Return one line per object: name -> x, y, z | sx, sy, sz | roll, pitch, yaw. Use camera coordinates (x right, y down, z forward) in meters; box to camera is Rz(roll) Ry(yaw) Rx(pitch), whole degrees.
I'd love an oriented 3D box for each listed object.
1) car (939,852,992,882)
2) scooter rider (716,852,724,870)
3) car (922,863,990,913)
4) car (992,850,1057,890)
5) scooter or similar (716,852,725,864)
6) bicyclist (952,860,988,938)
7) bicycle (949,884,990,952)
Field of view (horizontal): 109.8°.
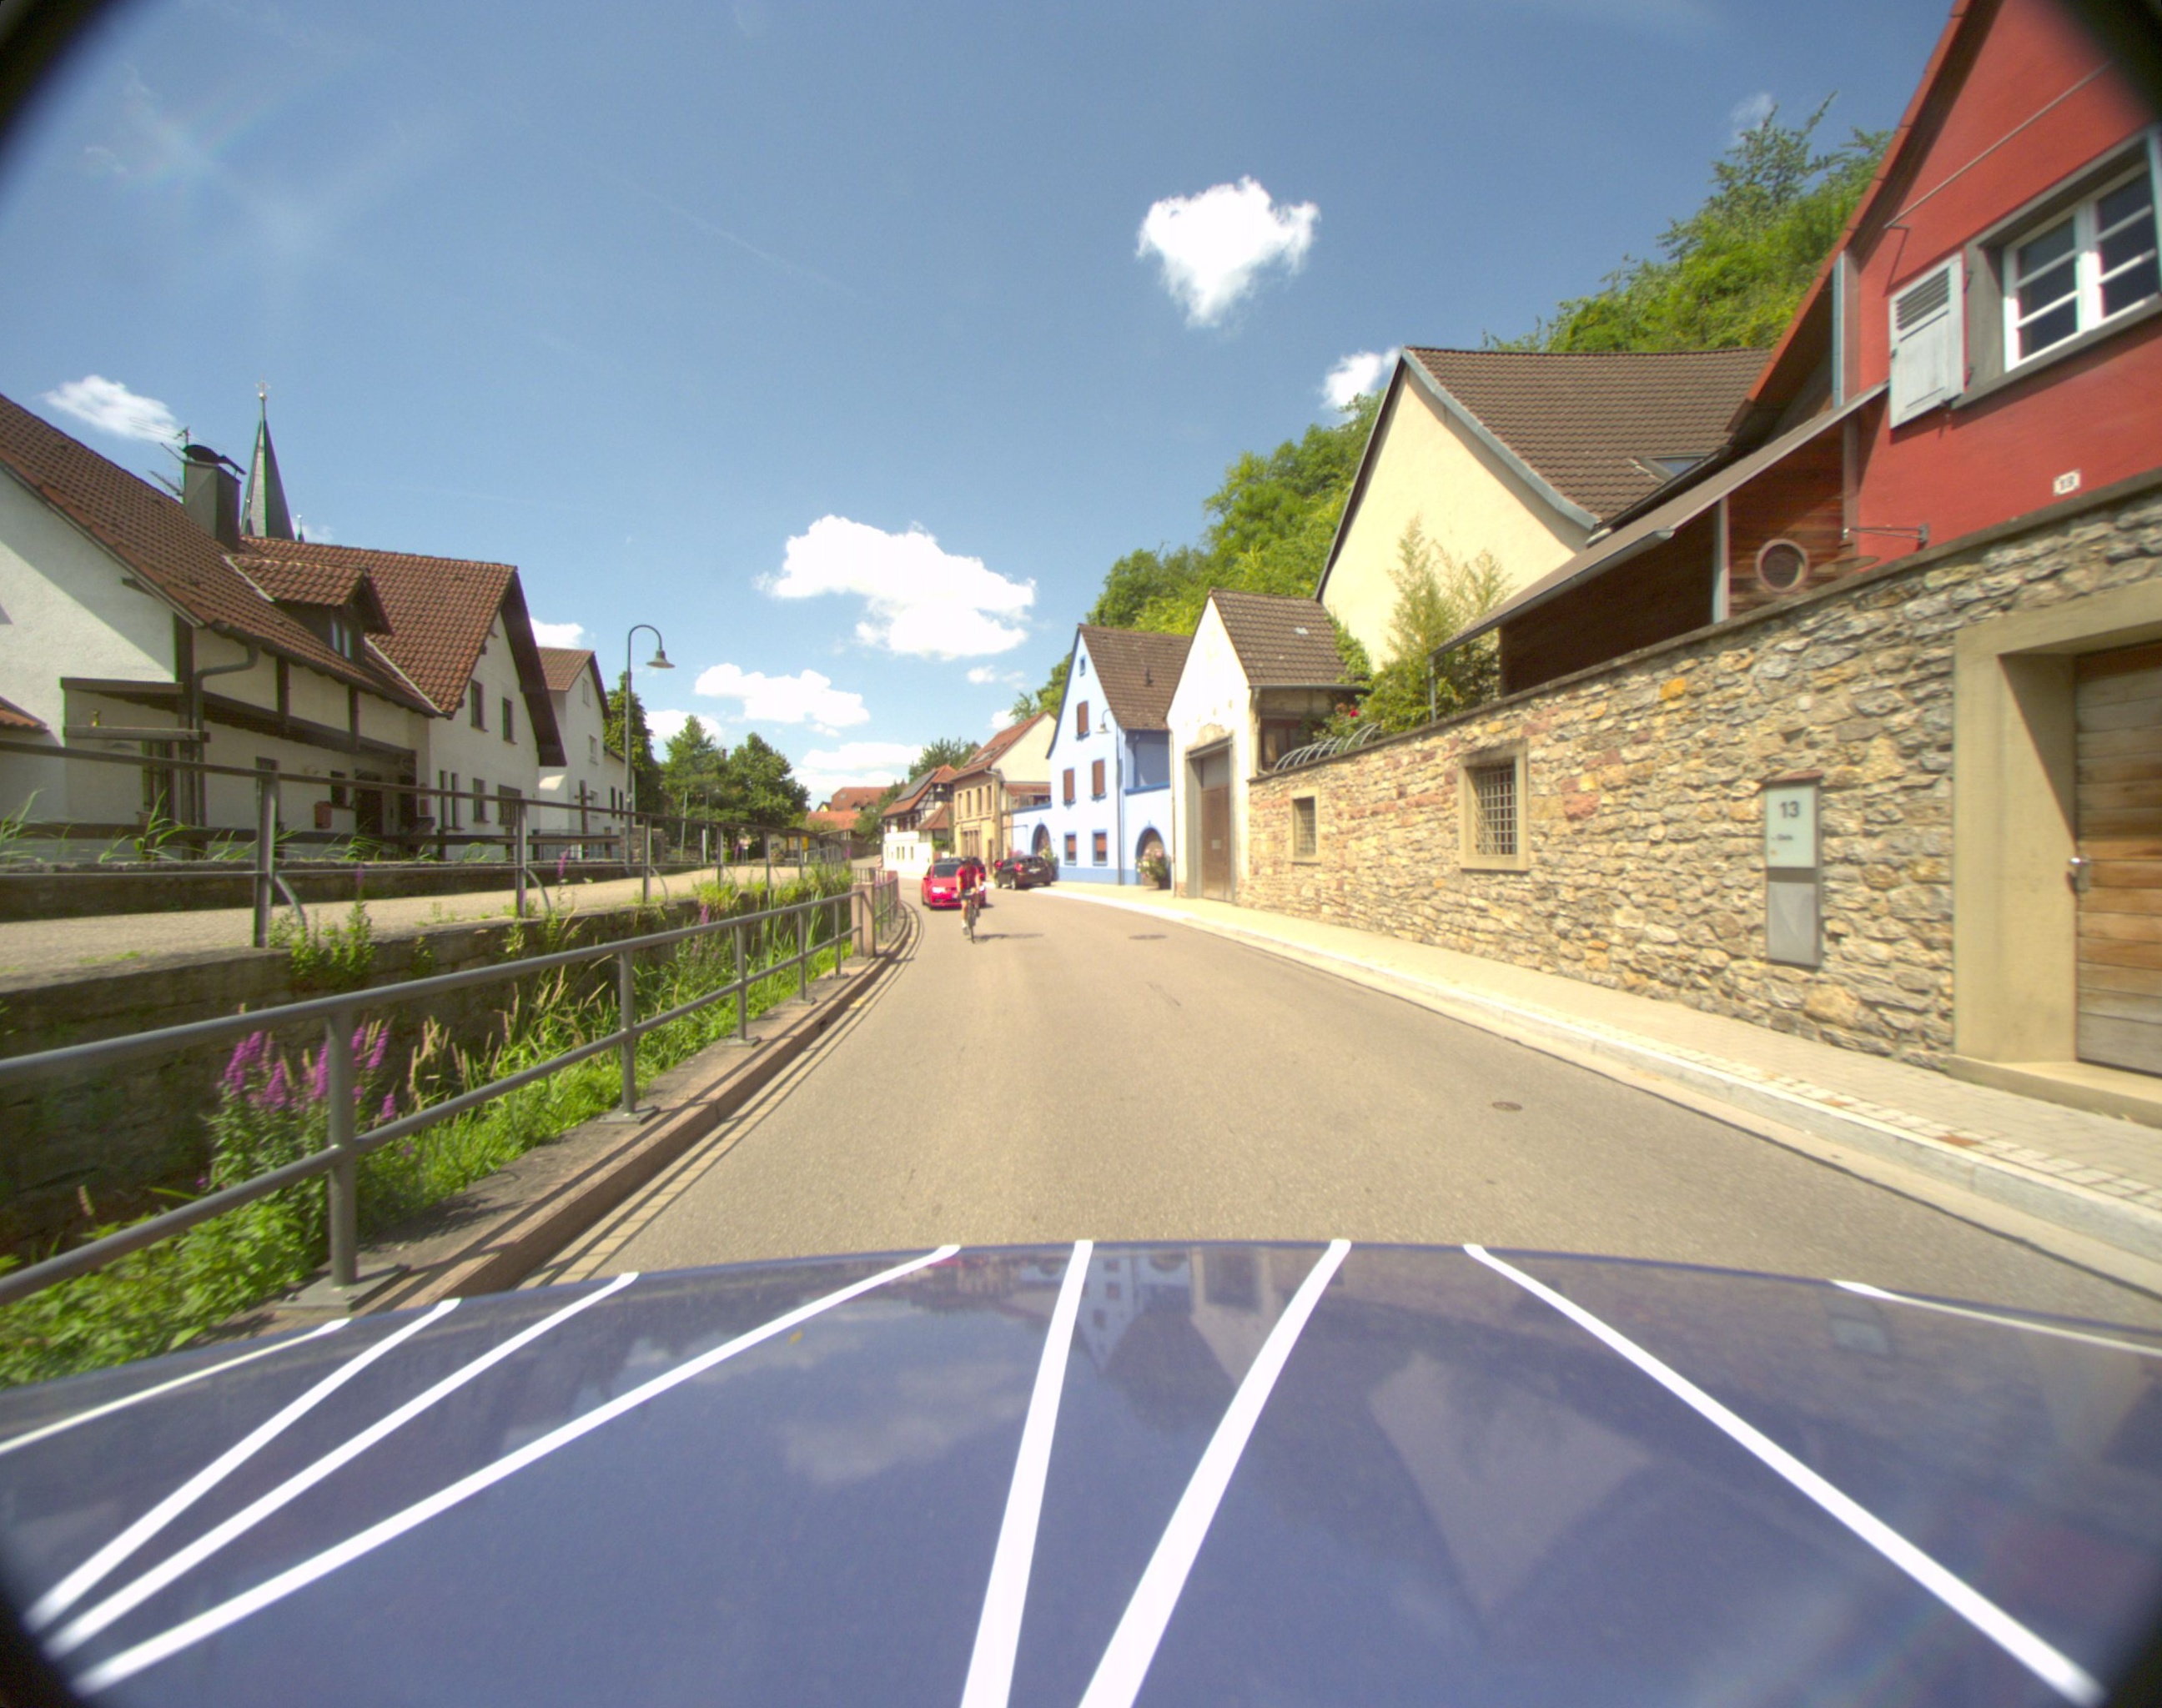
car -> -6.667, 0.735, 43.509 | 1.893, 1.456, 4.660 | -5, 1, -22
scooter rider -> -34.709, 0.674, 73.093 | 0.644, 1.722, 0.553 | -2, 2, -23
car -> -3.945, 1.005, 23.513 | 1.672, 1.344, 3.490 | -2, -1, -15
car -> -2.591, 0.682, 33.973 | 1.724, 1.521, 3.849 | -6, 2, -21
scooter or similar -> -34.705, 0.408, 73.115 | 0.644, 1.135, 1.808 | 0, 1, -22
bicyclist -> -2.044, 0.812, 14.055 | 0.532, 1.396, 0.755 | -3, 0, -4
bicycle -> -2.030, 1.130, 14.013 | 0.531, 1.070, 2.053 | -3, 0, -4
